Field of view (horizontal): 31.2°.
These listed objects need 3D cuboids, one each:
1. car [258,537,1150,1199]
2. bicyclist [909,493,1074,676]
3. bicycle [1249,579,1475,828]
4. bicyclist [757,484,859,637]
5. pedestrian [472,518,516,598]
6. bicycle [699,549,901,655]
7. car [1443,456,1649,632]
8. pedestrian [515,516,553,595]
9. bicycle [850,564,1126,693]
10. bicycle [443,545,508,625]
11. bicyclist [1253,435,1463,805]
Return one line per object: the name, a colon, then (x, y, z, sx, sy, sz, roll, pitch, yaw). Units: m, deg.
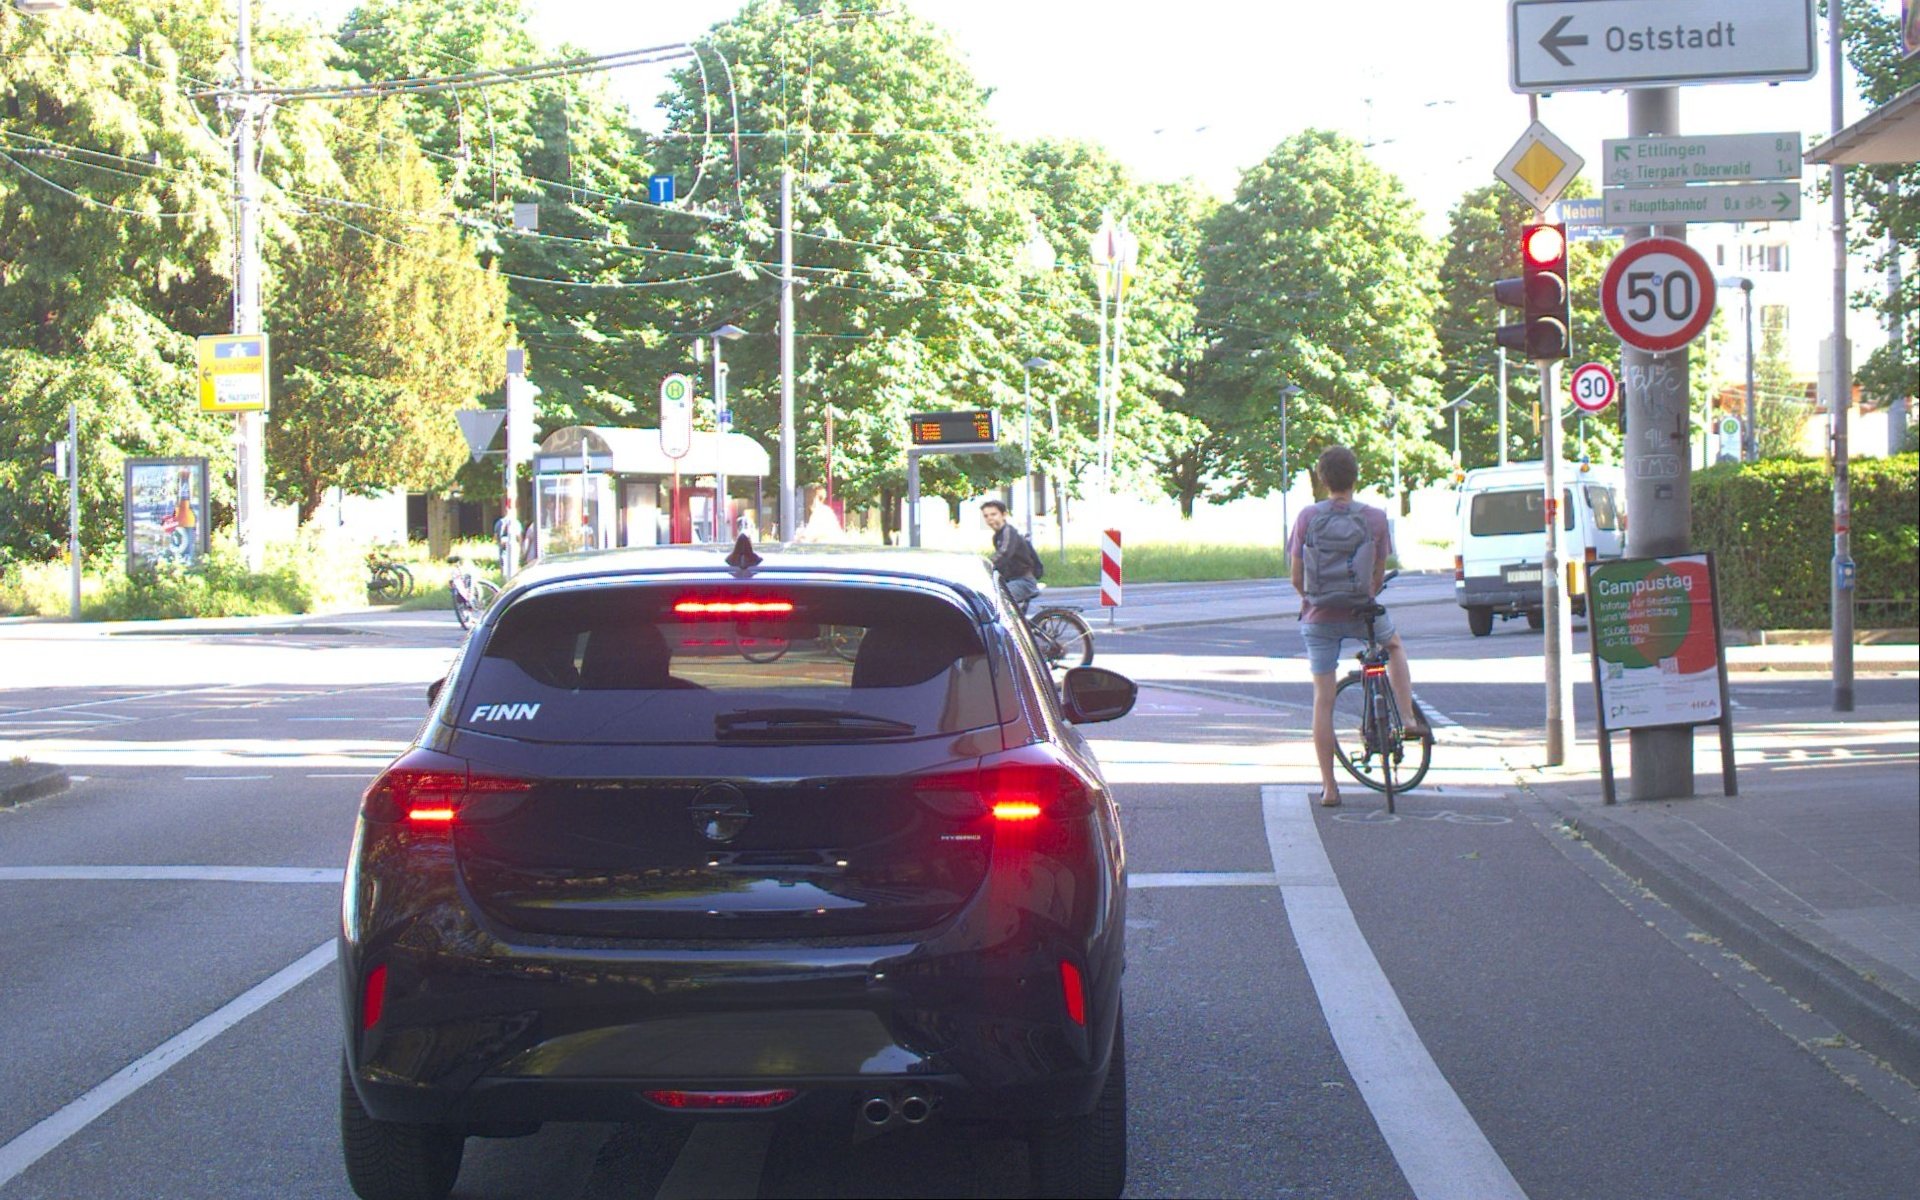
car: (-0.513, 0.564, 8.778, 1.727, 1.424, 4.187, 0, 1, 0)
bicyclist: (0.265, -0.142, 29.270, 1.112, 1.515, 0.922, -1, 1, -23)
bicycle: (2.035, 0.493, 17.701, 0.860, 1.149, 2.172, -1, 1, -1)
bicyclist: (-1.595, -0.420, 36.132, 0.862, 1.589, 0.648, 0, 1, 22)
pedestrian: (-9.652, -0.864, 71.225, 0.751, 1.624, 0.597, 1, 0, 7)
bicycle: (-1.685, 0.014, 36.179, 2.057, 1.090, 0.592, 0, 1, 22)
car: (7.981, -0.780, 46.459, 2.065, 2.241, 4.883, 0, 1, 18)
pedestrian: (-8.838, -0.930, 71.358, 0.636, 1.624, 0.572, 1, 0, 7)
bicycle: (0.238, 0.226, 29.301, 2.190, 1.029, 0.835, -1, 1, -23)
bicycle: (-6.544, -0.212, 46.481, 0.605, 1.028, 1.982, -1, 1, -1)
bicyclist: (2.036, 0.089, 17.690, 0.941, 1.845, 0.864, -1, 1, -1)
